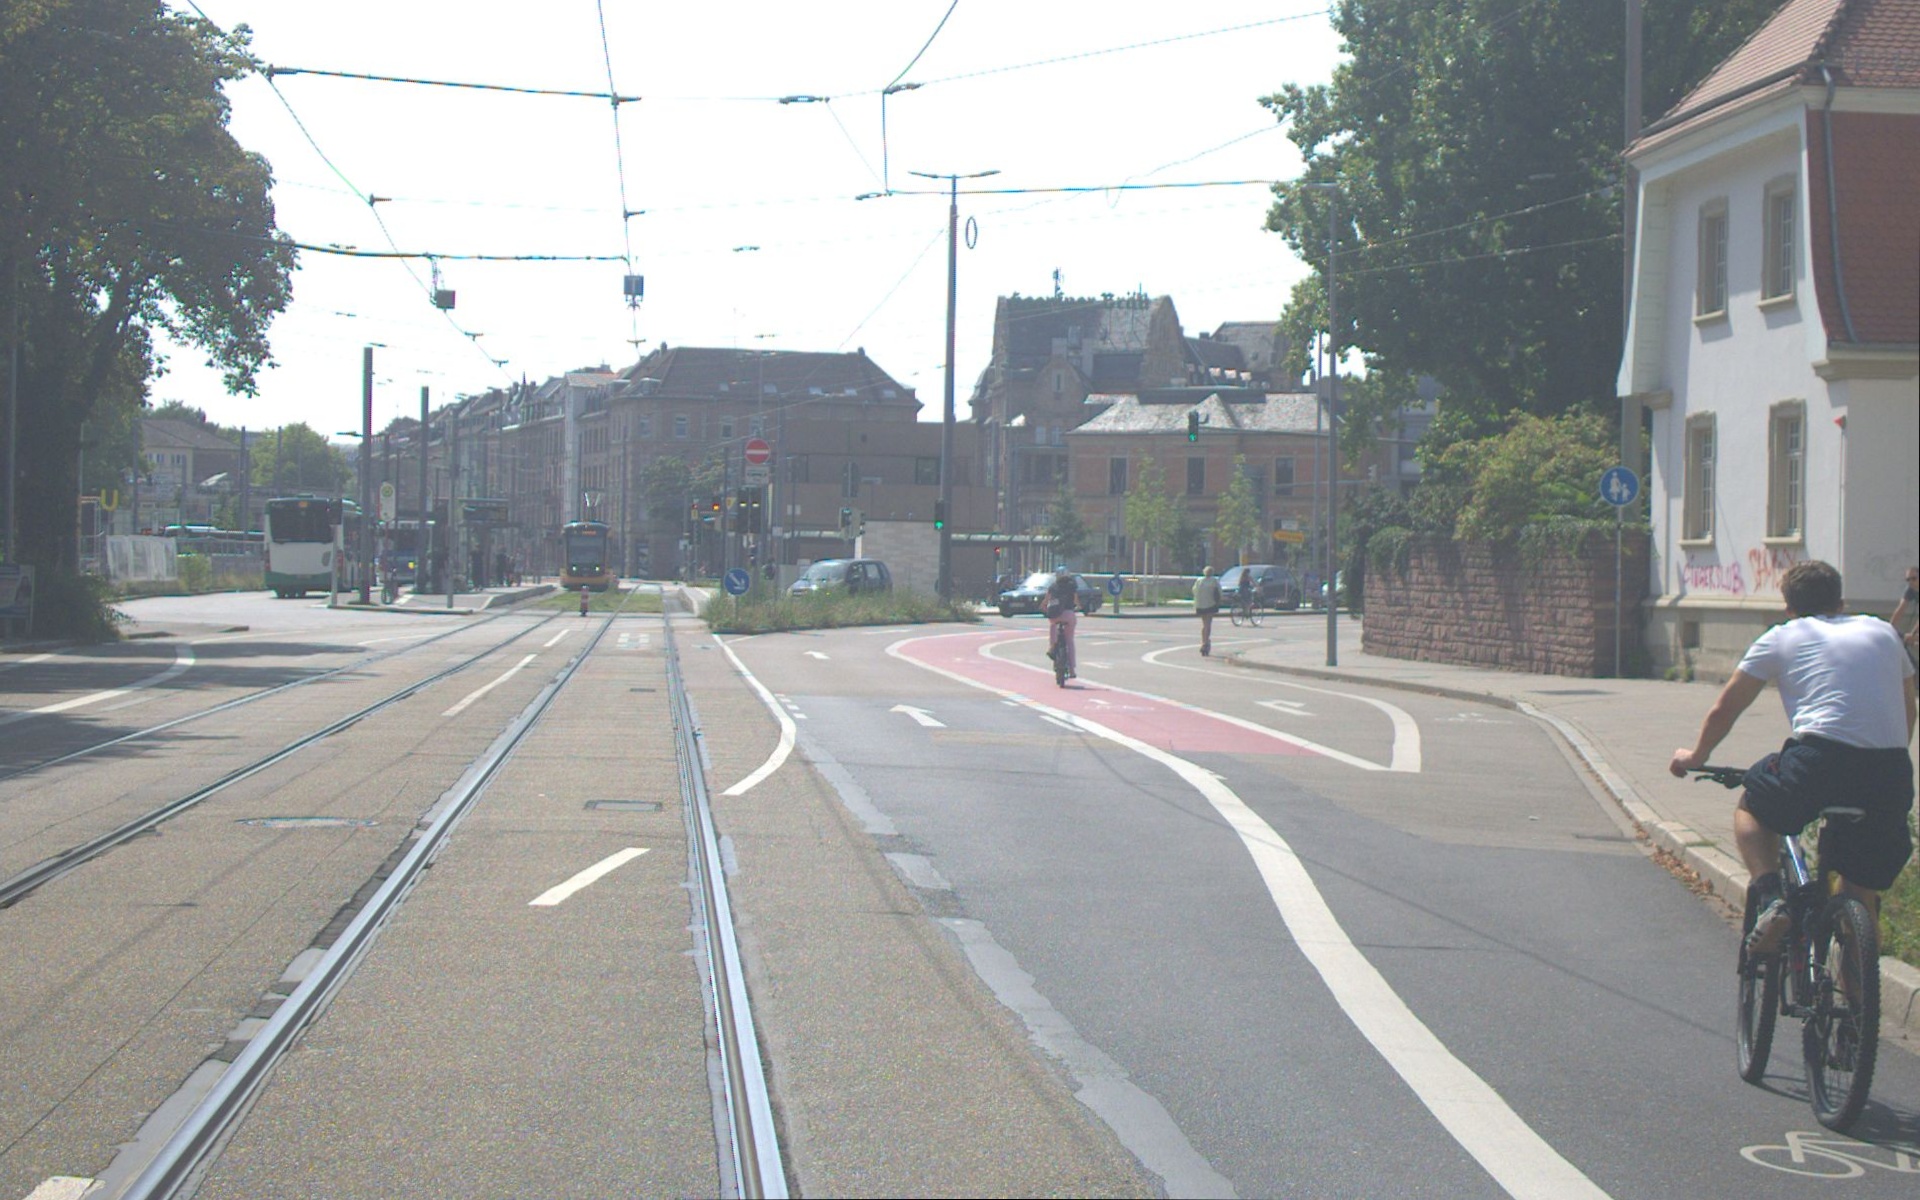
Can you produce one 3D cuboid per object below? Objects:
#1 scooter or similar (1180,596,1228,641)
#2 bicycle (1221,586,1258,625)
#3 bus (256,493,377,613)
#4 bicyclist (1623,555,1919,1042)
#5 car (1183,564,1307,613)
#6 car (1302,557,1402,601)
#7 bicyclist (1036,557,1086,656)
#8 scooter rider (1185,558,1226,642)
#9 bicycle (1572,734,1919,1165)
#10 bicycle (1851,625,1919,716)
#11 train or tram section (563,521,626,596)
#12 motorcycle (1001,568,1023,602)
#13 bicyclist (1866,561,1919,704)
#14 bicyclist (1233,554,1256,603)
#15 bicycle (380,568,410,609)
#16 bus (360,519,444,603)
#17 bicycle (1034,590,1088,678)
[{"bbox_3d":[5.221,0.389,73.585,0.772,0.923,1.619,2,1,12],"label":"scooter or similar"},{"bbox_3d":[8.047,0.163,98.859,0.445,1.113,1.443,1,0,32],"label":"bicycle"},{"bbox_3d":[-21.548,-1.537,115.620,2.957,3.762,10.598,2,0,-6],"label":"bus"},{"bbox_3d":[2.540,0.575,10.503,0.745,1.407,0.962,2,1,-4],"label":"bicyclist"},{"bbox_3d":[9.697,-0.384,116.731,1.776,1.605,4.662,1,1,40],"label":"car"},{"bbox_3d":[14.190,-0.748,124.193,1.654,1.525,4.316,1,0,36],"label":"car"},{"bbox_3d":[1.376,0.081,46.982,0.602,1.331,0.660,1,0,-3],"label":"bicyclist"},{"bbox_3d":[5.257,-0.001,73.657,0.762,1.769,0.555,1,0,12],"label":"scooter rider"},{"bbox_3d":[2.528,0.994,10.436,0.739,1.045,2.233,2,1,-5],"label":"bicycle"},{"bbox_3d":[10.972,0.804,38.850,1.705,0.996,0.616,2,0,-23],"label":"bicycle"},{"bbox_3d":[-18.553,-2.051,175.237,2.856,3.536,17.745,2,0,-5],"label":"train or tram section"},{"bbox_3d":[1.938,-0.557,127.667,0.604,1.206,2.253,1,0,6],"label":"motorcycle"},{"bbox_3d":[10.841,0.368,38.784,0.989,1.593,0.628,1,1,-24],"label":"bicyclist"},{"bbox_3d":[8.193,-0.612,99.076,0.450,1.416,0.495,1,0,31],"label":"bicyclist"},{"bbox_3d":[-16.839,-0.351,102.547,0.607,1.218,1.705,1,0,-1],"label":"bicycle"},{"bbox_3d":[-26.017,-1.797,160.703,2.709,3.714,10.420,2,0,-4],"label":"bus"},{"bbox_3d":[1.370,0.455,46.994,0.604,1.159,1.811,1,0,-2],"label":"bicycle"}]
